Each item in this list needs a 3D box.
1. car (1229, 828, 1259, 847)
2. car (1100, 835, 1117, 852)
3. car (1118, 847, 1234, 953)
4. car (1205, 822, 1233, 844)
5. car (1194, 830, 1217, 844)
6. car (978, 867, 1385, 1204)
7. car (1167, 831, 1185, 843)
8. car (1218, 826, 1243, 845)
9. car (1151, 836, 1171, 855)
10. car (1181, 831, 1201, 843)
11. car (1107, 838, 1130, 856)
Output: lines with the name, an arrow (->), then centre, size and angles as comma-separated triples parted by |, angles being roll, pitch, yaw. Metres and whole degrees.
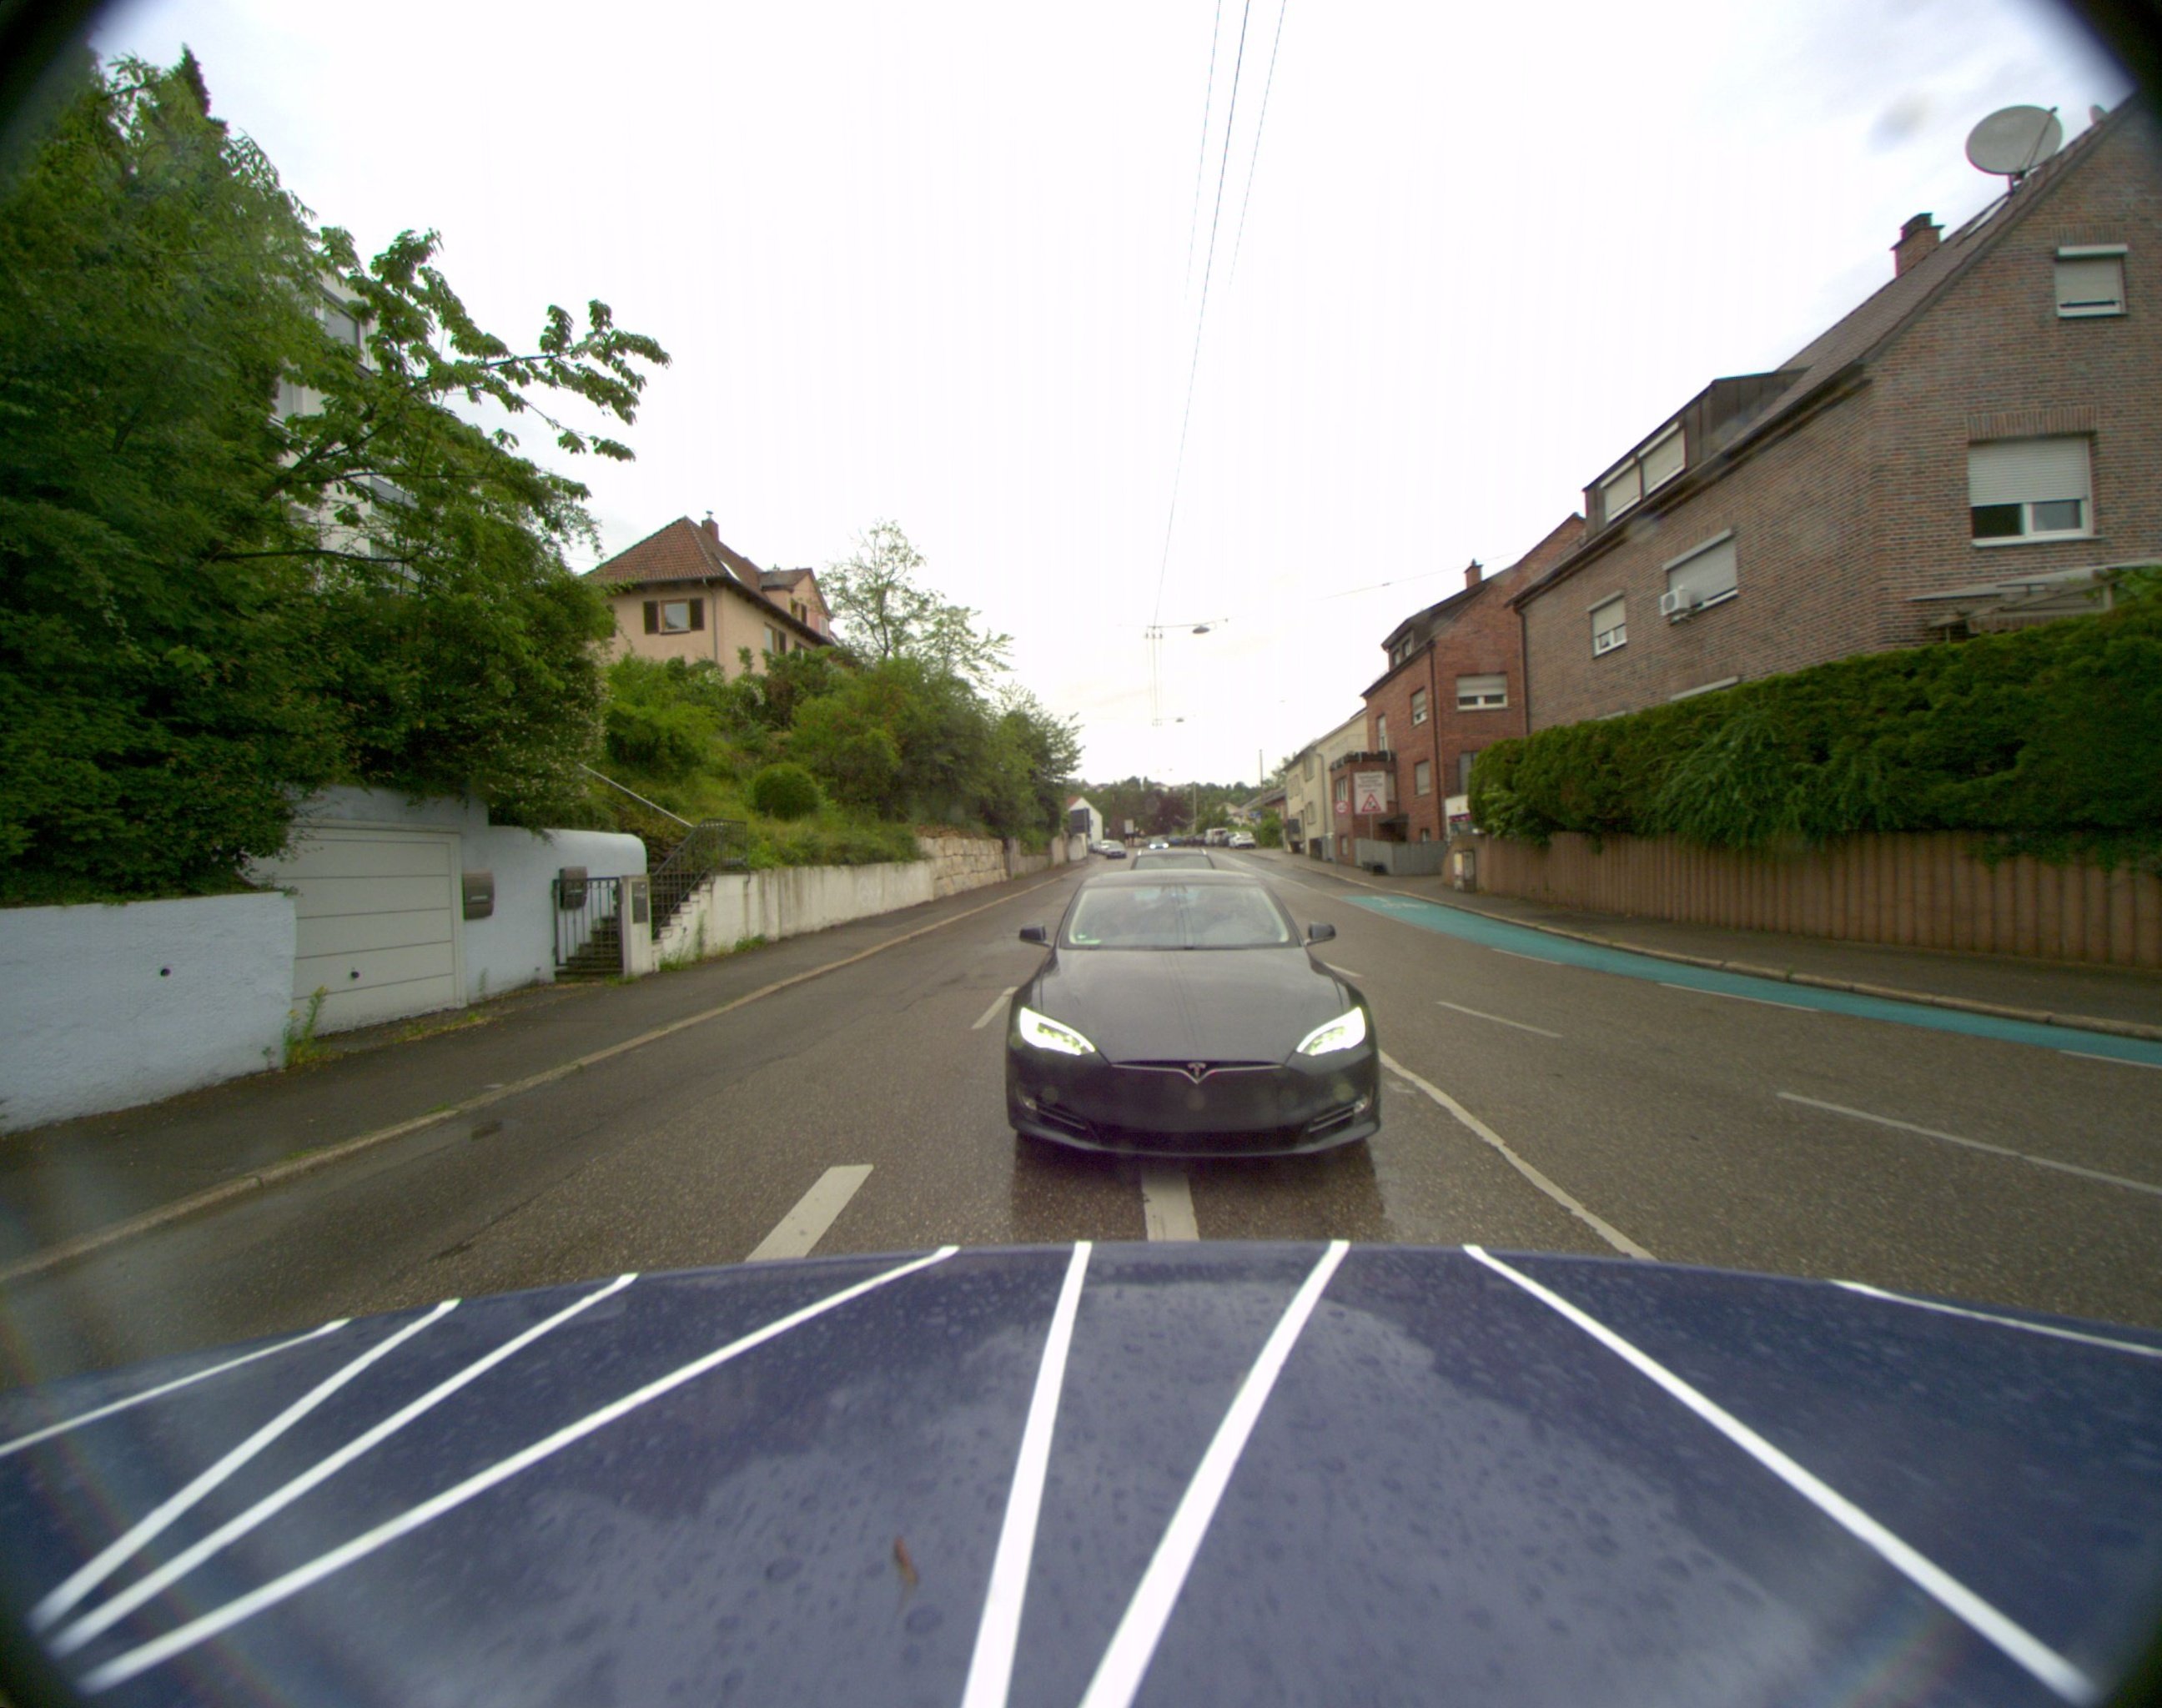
car -> 15.354, -1.561, 71.964 | 1.946, 1.557, 4.263 | -4, 1, 2
car -> 3.185, -1.275, 89.039 | 1.820, 1.855, 4.038 | -2, 2, -1
car -> 1.637, 0.714, 13.867 | 1.789, 1.580, 3.784 | -2, 1, 4
car -> 15.612, -2.342, 86.142 | 2.257, 2.273, 4.546 | -4, 1, 0
car -> 15.004, -2.054, 91.509 | 1.654, 1.482, 4.009 | -4, 1, -6
car -> 0.611, 0.910, 5.575 | 1.870, 1.407, 4.000 | -2, 1, 4
car -> 12.783, -2.288, 102.601 | 1.624, 1.482, 3.901 | -4, 1, -4
car -> 15.723, -1.913, 80.112 | 1.814, 1.793, 4.263 | -4, 1, 2
car -> 7.982, -0.842, 76.437 | 1.816, 1.720, 4.002 | -2, -1, 4
car -> 14.062, -2.191, 97.451 | 1.654, 1.388, 3.859 | -4, 1, -4
car -> 3.644, -0.662, 73.170 | 2.002, 1.596, 4.360 | -2, -1, 4
